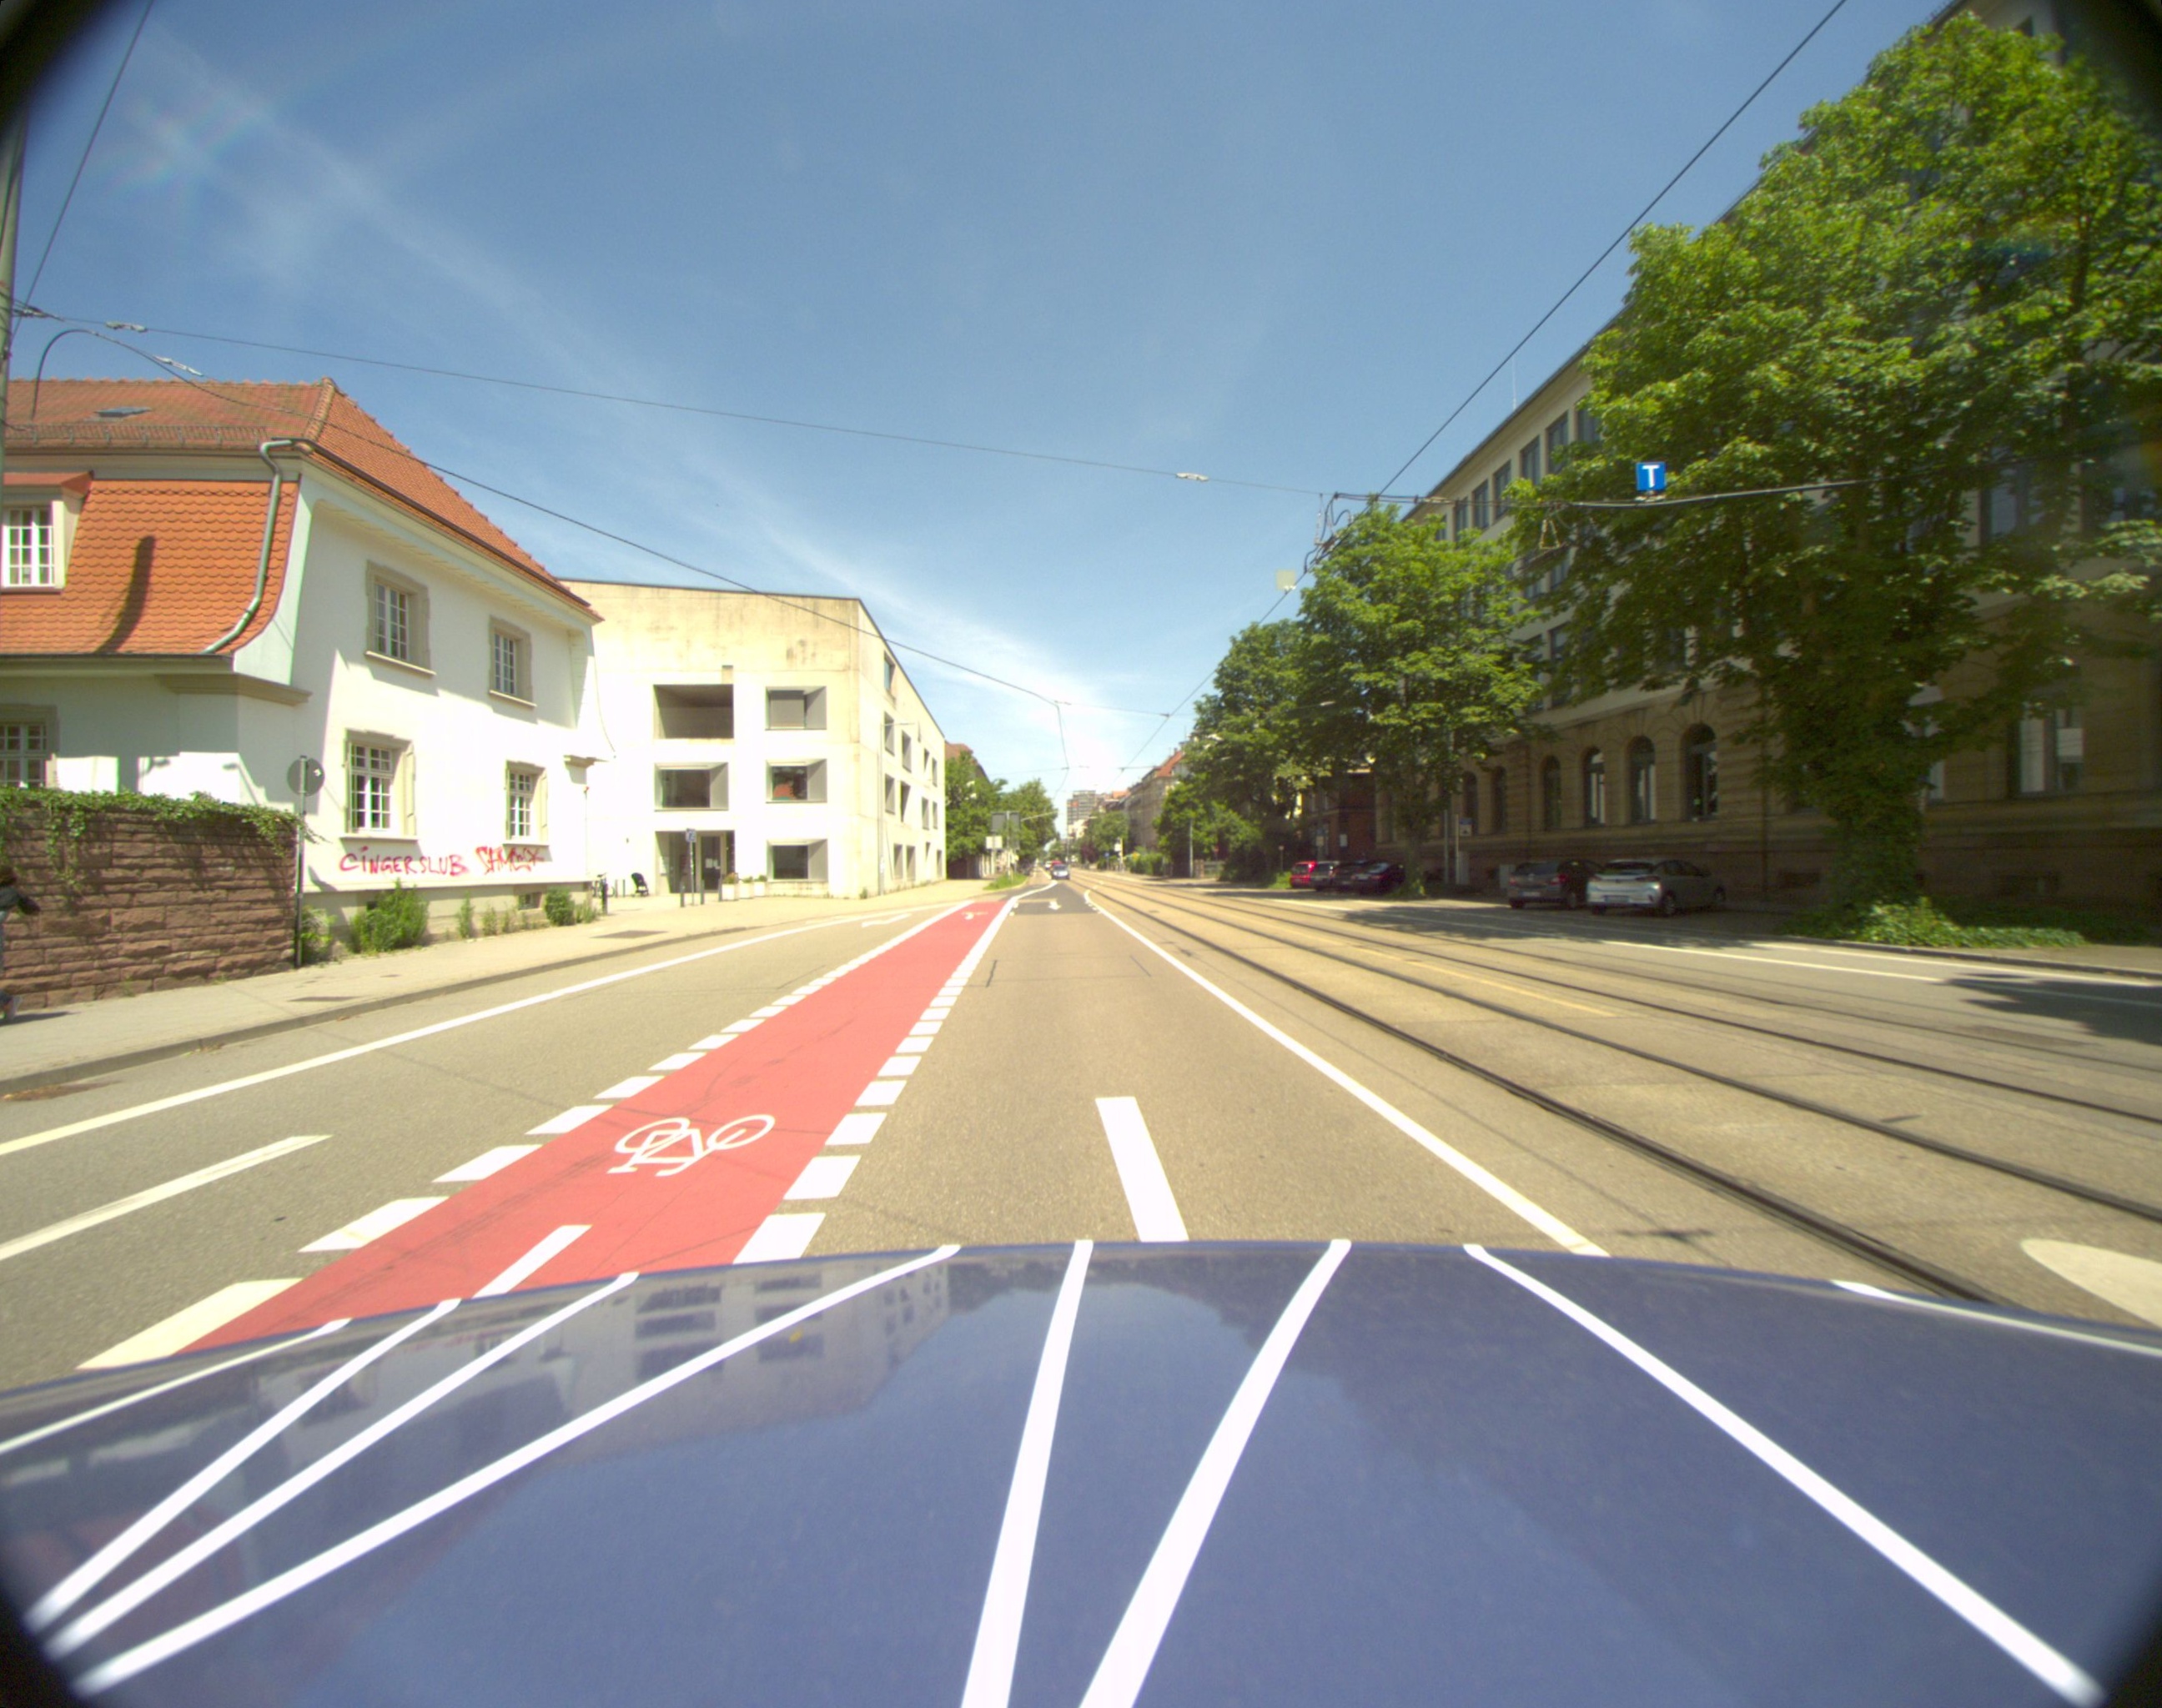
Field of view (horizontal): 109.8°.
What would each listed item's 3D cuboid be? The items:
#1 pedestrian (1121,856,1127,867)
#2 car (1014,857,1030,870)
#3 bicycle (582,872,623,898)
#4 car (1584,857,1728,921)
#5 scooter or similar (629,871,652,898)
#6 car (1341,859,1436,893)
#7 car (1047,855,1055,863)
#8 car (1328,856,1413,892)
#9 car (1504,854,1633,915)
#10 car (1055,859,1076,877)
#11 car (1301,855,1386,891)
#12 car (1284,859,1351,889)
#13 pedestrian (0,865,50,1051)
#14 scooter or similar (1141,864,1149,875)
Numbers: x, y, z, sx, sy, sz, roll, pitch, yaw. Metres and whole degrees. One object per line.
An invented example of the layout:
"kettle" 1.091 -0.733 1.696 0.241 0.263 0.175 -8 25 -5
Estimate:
"pedestrian" 6.466 1.176 114.566 0.742 1.632 0.939 -1 0 -1
"car" -7.324 1.164 94.335 1.865 1.567 4.876 -1 -1 -3
"bicycle" -20.293 1.285 32.286 0.653 0.998 2.198 -1 0 -9
"car" 14.553 0.817 19.211 3.555 1.398 1.698 -1 0 -31
"scooter or similar" -19.108 1.300 32.963 0.534 1.133 0.963 -1 1 -9
"car" 13.249 0.906 32.667 3.940 1.366 1.666 0 0 -29
"car" -6.401 1.090 163.080 1.620 1.700 3.428 -1 1 -2
"car" 13.664 0.899 35.793 3.825 1.567 1.789 0 0 -32
"car" 14.134 0.831 22.004 3.682 1.511 1.665 -2 1 -31
"car" -1.581 1.348 74.071 1.894 1.561 4.035 -1 1 -3
"car" 13.364 0.935 38.612 4.329 1.575 1.665 -2 1 -32
"car" 13.045 1.082 41.871 3.357 1.507 1.666 -2 0 -29
"pedestrian" -10.702 0.996 7.301 0.718 1.763 0.629 2 1 -1
"scooter or similar" 8.401 2.004 99.636 1.012 1.442 0.597 -1 1 -3
